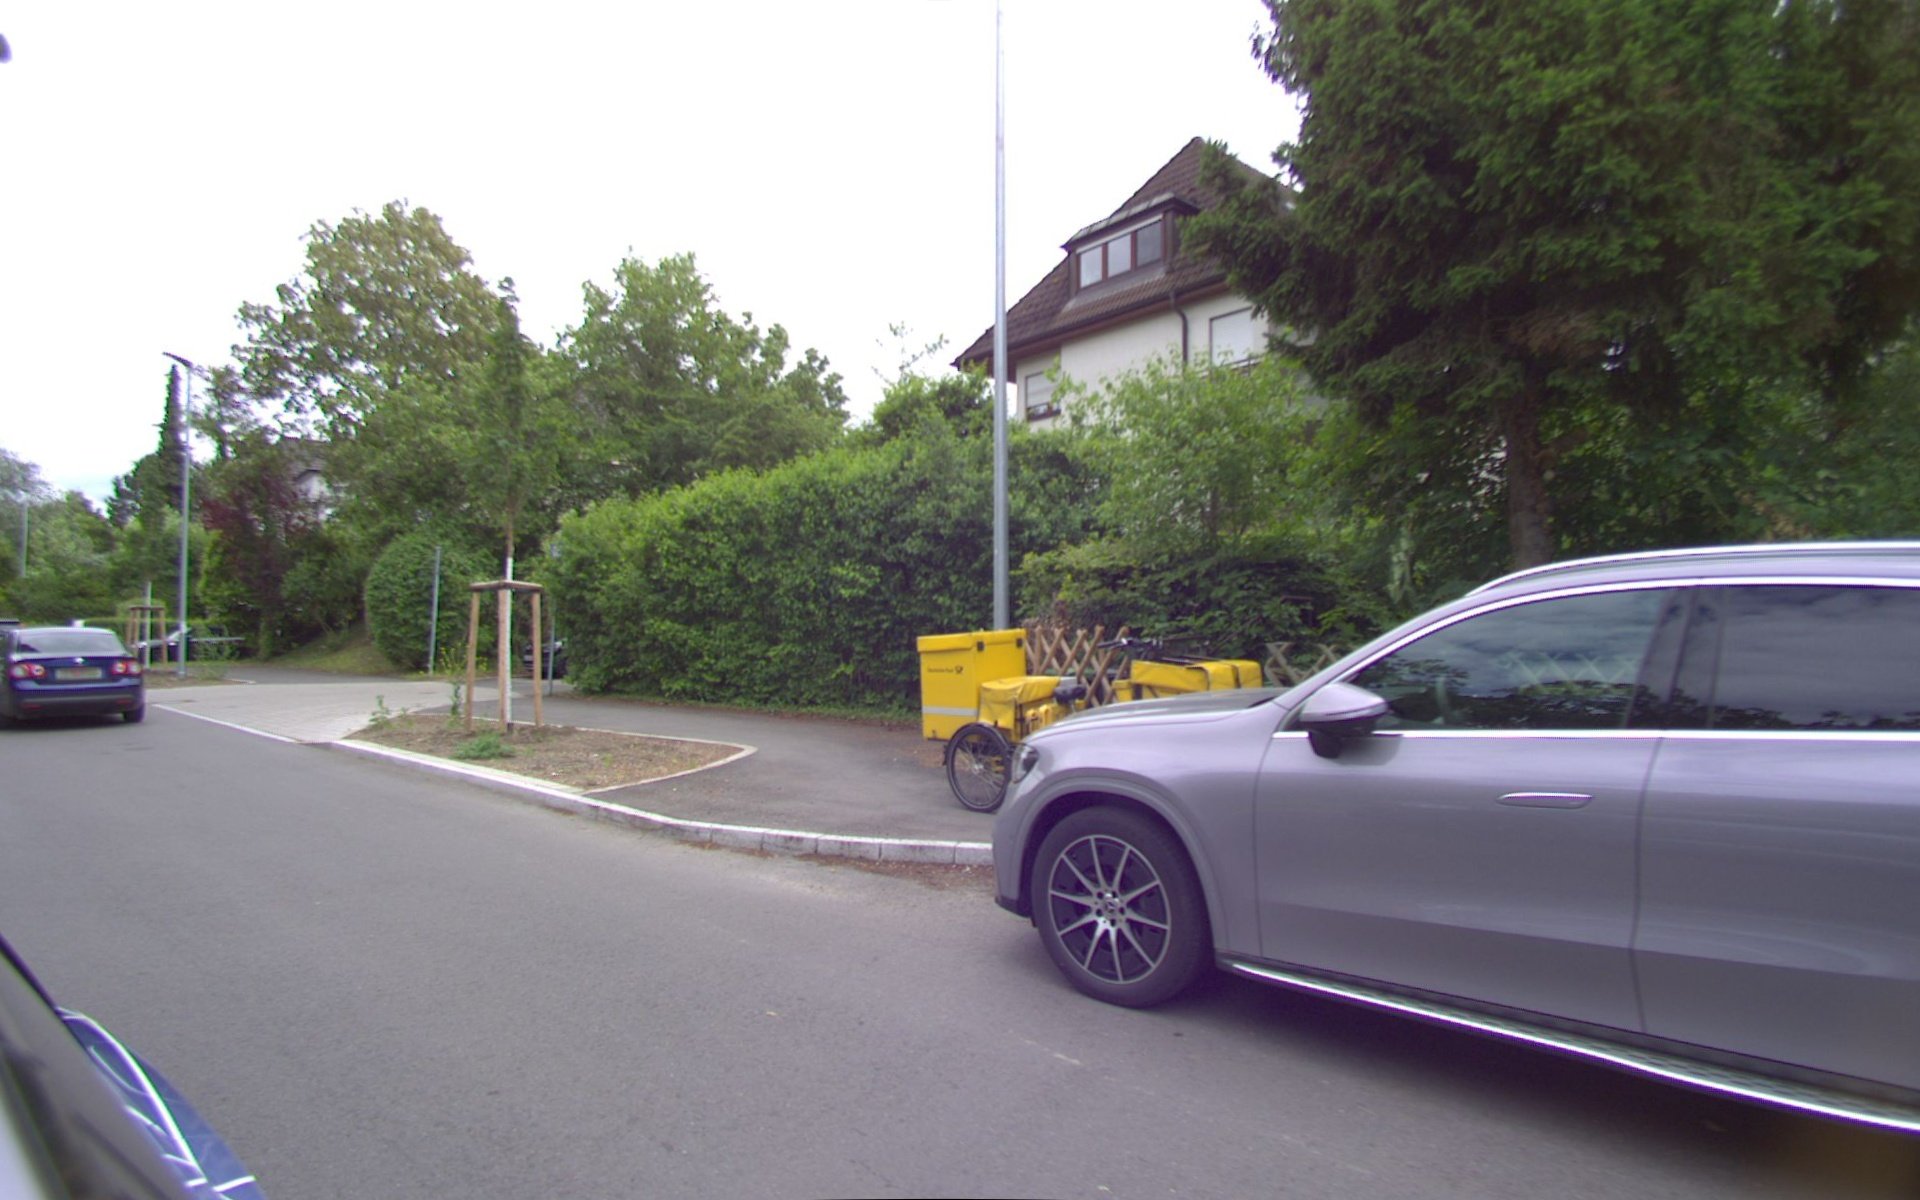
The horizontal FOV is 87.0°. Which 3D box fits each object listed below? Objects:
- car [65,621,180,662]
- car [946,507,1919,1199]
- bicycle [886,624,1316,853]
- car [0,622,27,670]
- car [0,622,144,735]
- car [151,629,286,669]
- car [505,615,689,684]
[{"bbox_3d":[-35.418,1.729,42.842,3.719,1.602,1.643,0,-1,-42],"label":"car"},{"bbox_3d":[2.288,0.619,3.257,4.729,1.619,1.776,-2,-1,42],"label":"car"},{"bbox_3d":[0.851,0.791,6.870,2.718,1.239,1.140,-1,-1,42],"label":"bicycle"},{"bbox_3d":[-35.707,1.671,37.105,4.195,1.693,1.896,-2,-1,43],"label":"car"},{"bbox_3d":[-13.918,1.107,15.470,4.195,1.486,1.688,-2,-1,43],"label":"car"},{"bbox_3d":[-26.756,1.735,36.601,1.641,1.324,3.723,-2,-1,43],"label":"car"},{"bbox_3d":[-9.090,1.189,25.571,1.683,1.569,4.075,-2,-1,42],"label":"car"}]
